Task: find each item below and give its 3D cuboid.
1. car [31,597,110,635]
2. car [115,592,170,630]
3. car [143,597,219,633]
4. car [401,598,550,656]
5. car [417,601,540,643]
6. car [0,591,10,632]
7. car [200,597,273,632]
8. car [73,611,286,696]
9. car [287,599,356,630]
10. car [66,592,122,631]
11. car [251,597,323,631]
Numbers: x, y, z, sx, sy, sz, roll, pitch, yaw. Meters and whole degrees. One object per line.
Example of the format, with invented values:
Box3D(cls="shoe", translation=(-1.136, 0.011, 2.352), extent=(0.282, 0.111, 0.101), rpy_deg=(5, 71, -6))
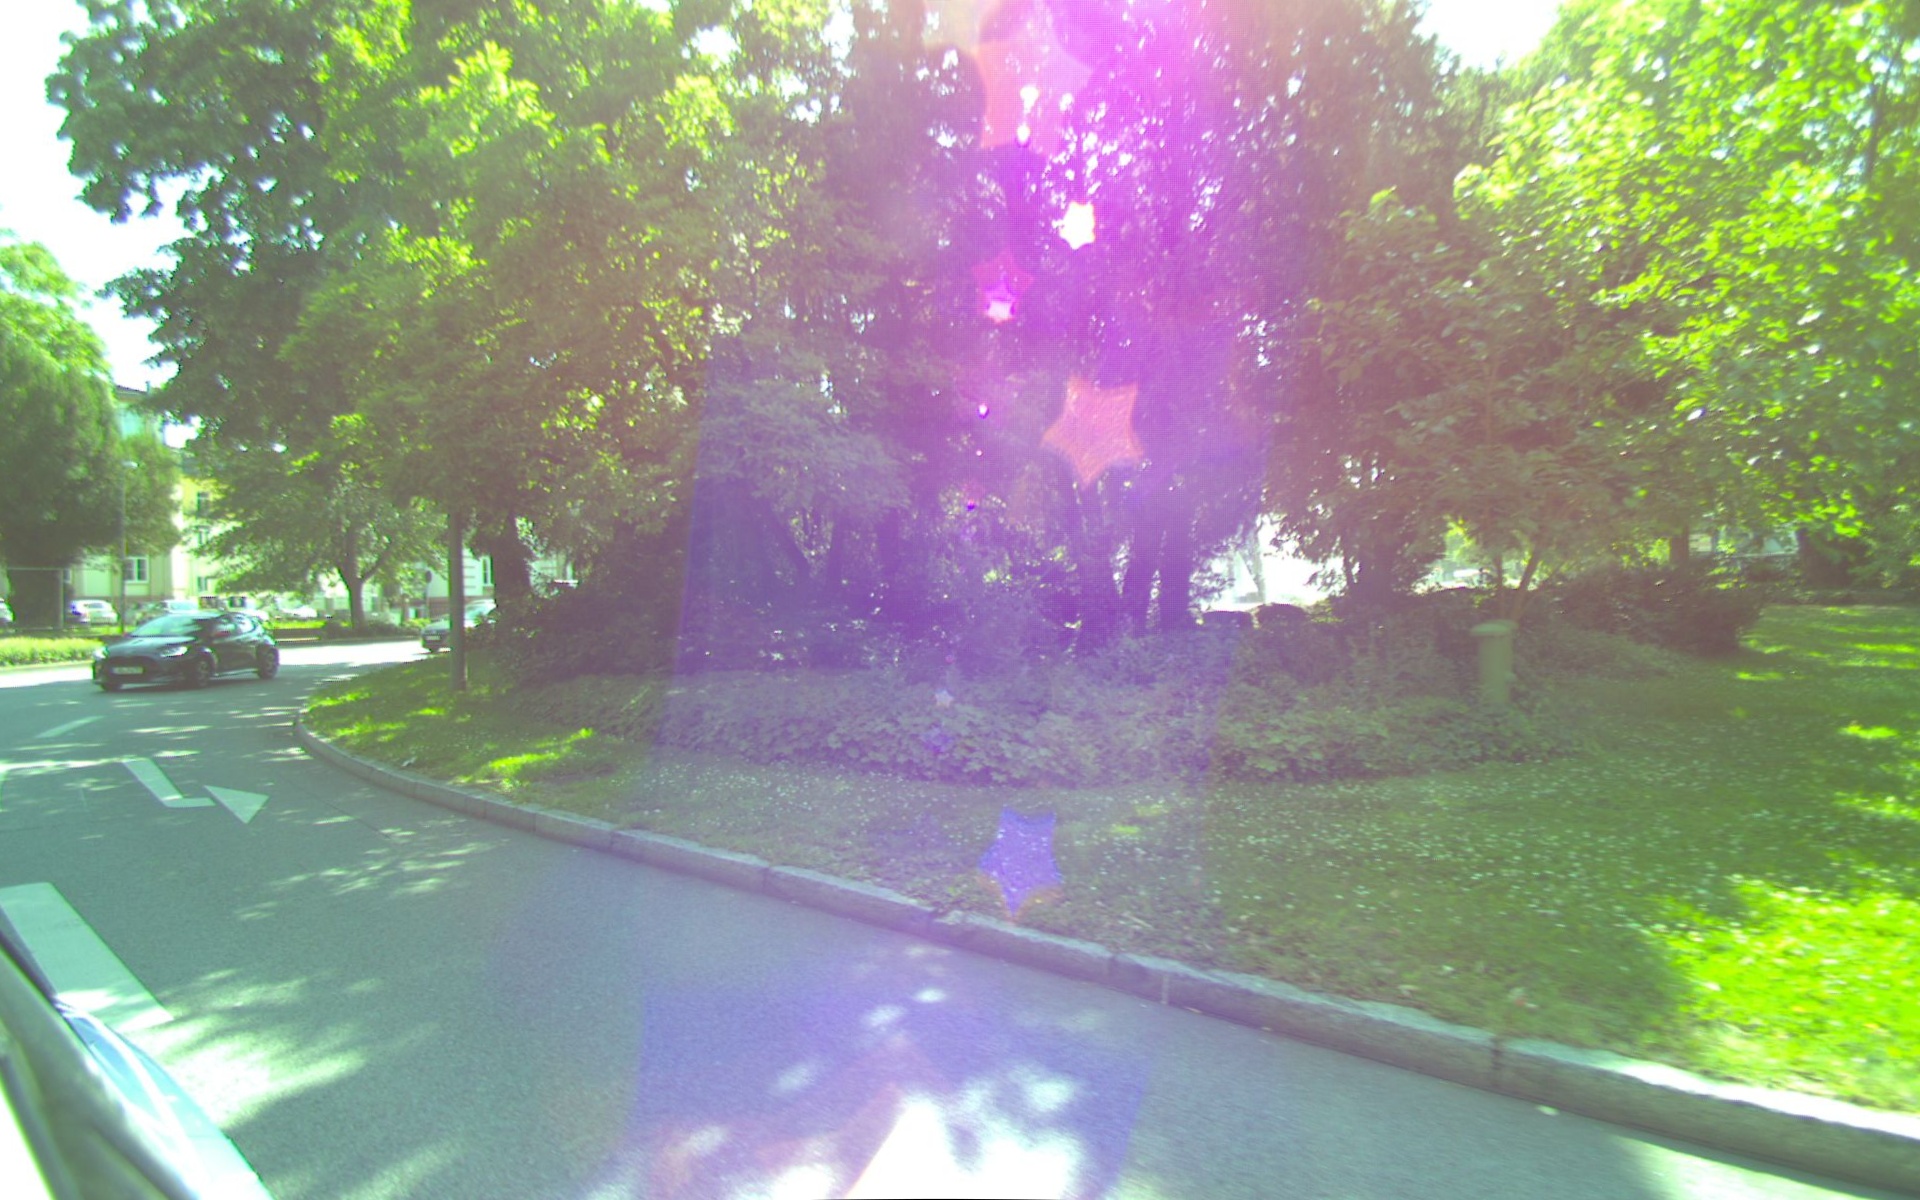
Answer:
Box3D(cls="car", translation=(-40.711, 0.737, 46.306), extent=(3.991, 1.674, 1.830), rpy_deg=(-1, 0, 35))
Box3D(cls="car", translation=(-46.358, 0.636, 57.362), extent=(3.999, 2.029, 1.826), rpy_deg=(-1, 0, 42))
Box3D(cls="car", translation=(-37.991, 0.738, 49.325), extent=(3.991, 1.674, 1.830), rpy_deg=(-1, 0, 35))
Box3D(cls="car", translation=(-15.409, 0.838, 32.432), extent=(1.879, 1.696, 4.110), rpy_deg=(0, -1, 23))
Box3D(cls="car", translation=(-19.908, 0.890, 42.031), extent=(1.680, 1.565, 4.370), rpy_deg=(-1, 0, 32))
Box3D(cls="car", translation=(-49.577, 0.623, 51.191), extent=(3.999, 2.029, 1.826), rpy_deg=(-1, 0, 42))
Box3D(cls="car", translation=(-36.809, 0.743, 51.441), extent=(3.991, 1.674, 1.830), rpy_deg=(-1, 0, 35))
Box3D(cls="car", translation=(-15.560, 0.994, 20.457), extent=(1.782, 1.462, 3.962), rpy_deg=(0, 0, -10))
Box3D(cls="car", translation=(-34.990, 0.794, 55.464), extent=(3.991, 1.590, 1.830), rpy_deg=(-1, 0, 35))
Box3D(cls="car", translation=(-47.816, 0.636, 55.846), extent=(3.999, 2.029, 1.826), rpy_deg=(-1, 0, 42))
Box3D(cls="car", translation=(-35.535, 0.746, 53.416), extent=(3.991, 1.674, 1.830), rpy_deg=(-1, 0, 35))
